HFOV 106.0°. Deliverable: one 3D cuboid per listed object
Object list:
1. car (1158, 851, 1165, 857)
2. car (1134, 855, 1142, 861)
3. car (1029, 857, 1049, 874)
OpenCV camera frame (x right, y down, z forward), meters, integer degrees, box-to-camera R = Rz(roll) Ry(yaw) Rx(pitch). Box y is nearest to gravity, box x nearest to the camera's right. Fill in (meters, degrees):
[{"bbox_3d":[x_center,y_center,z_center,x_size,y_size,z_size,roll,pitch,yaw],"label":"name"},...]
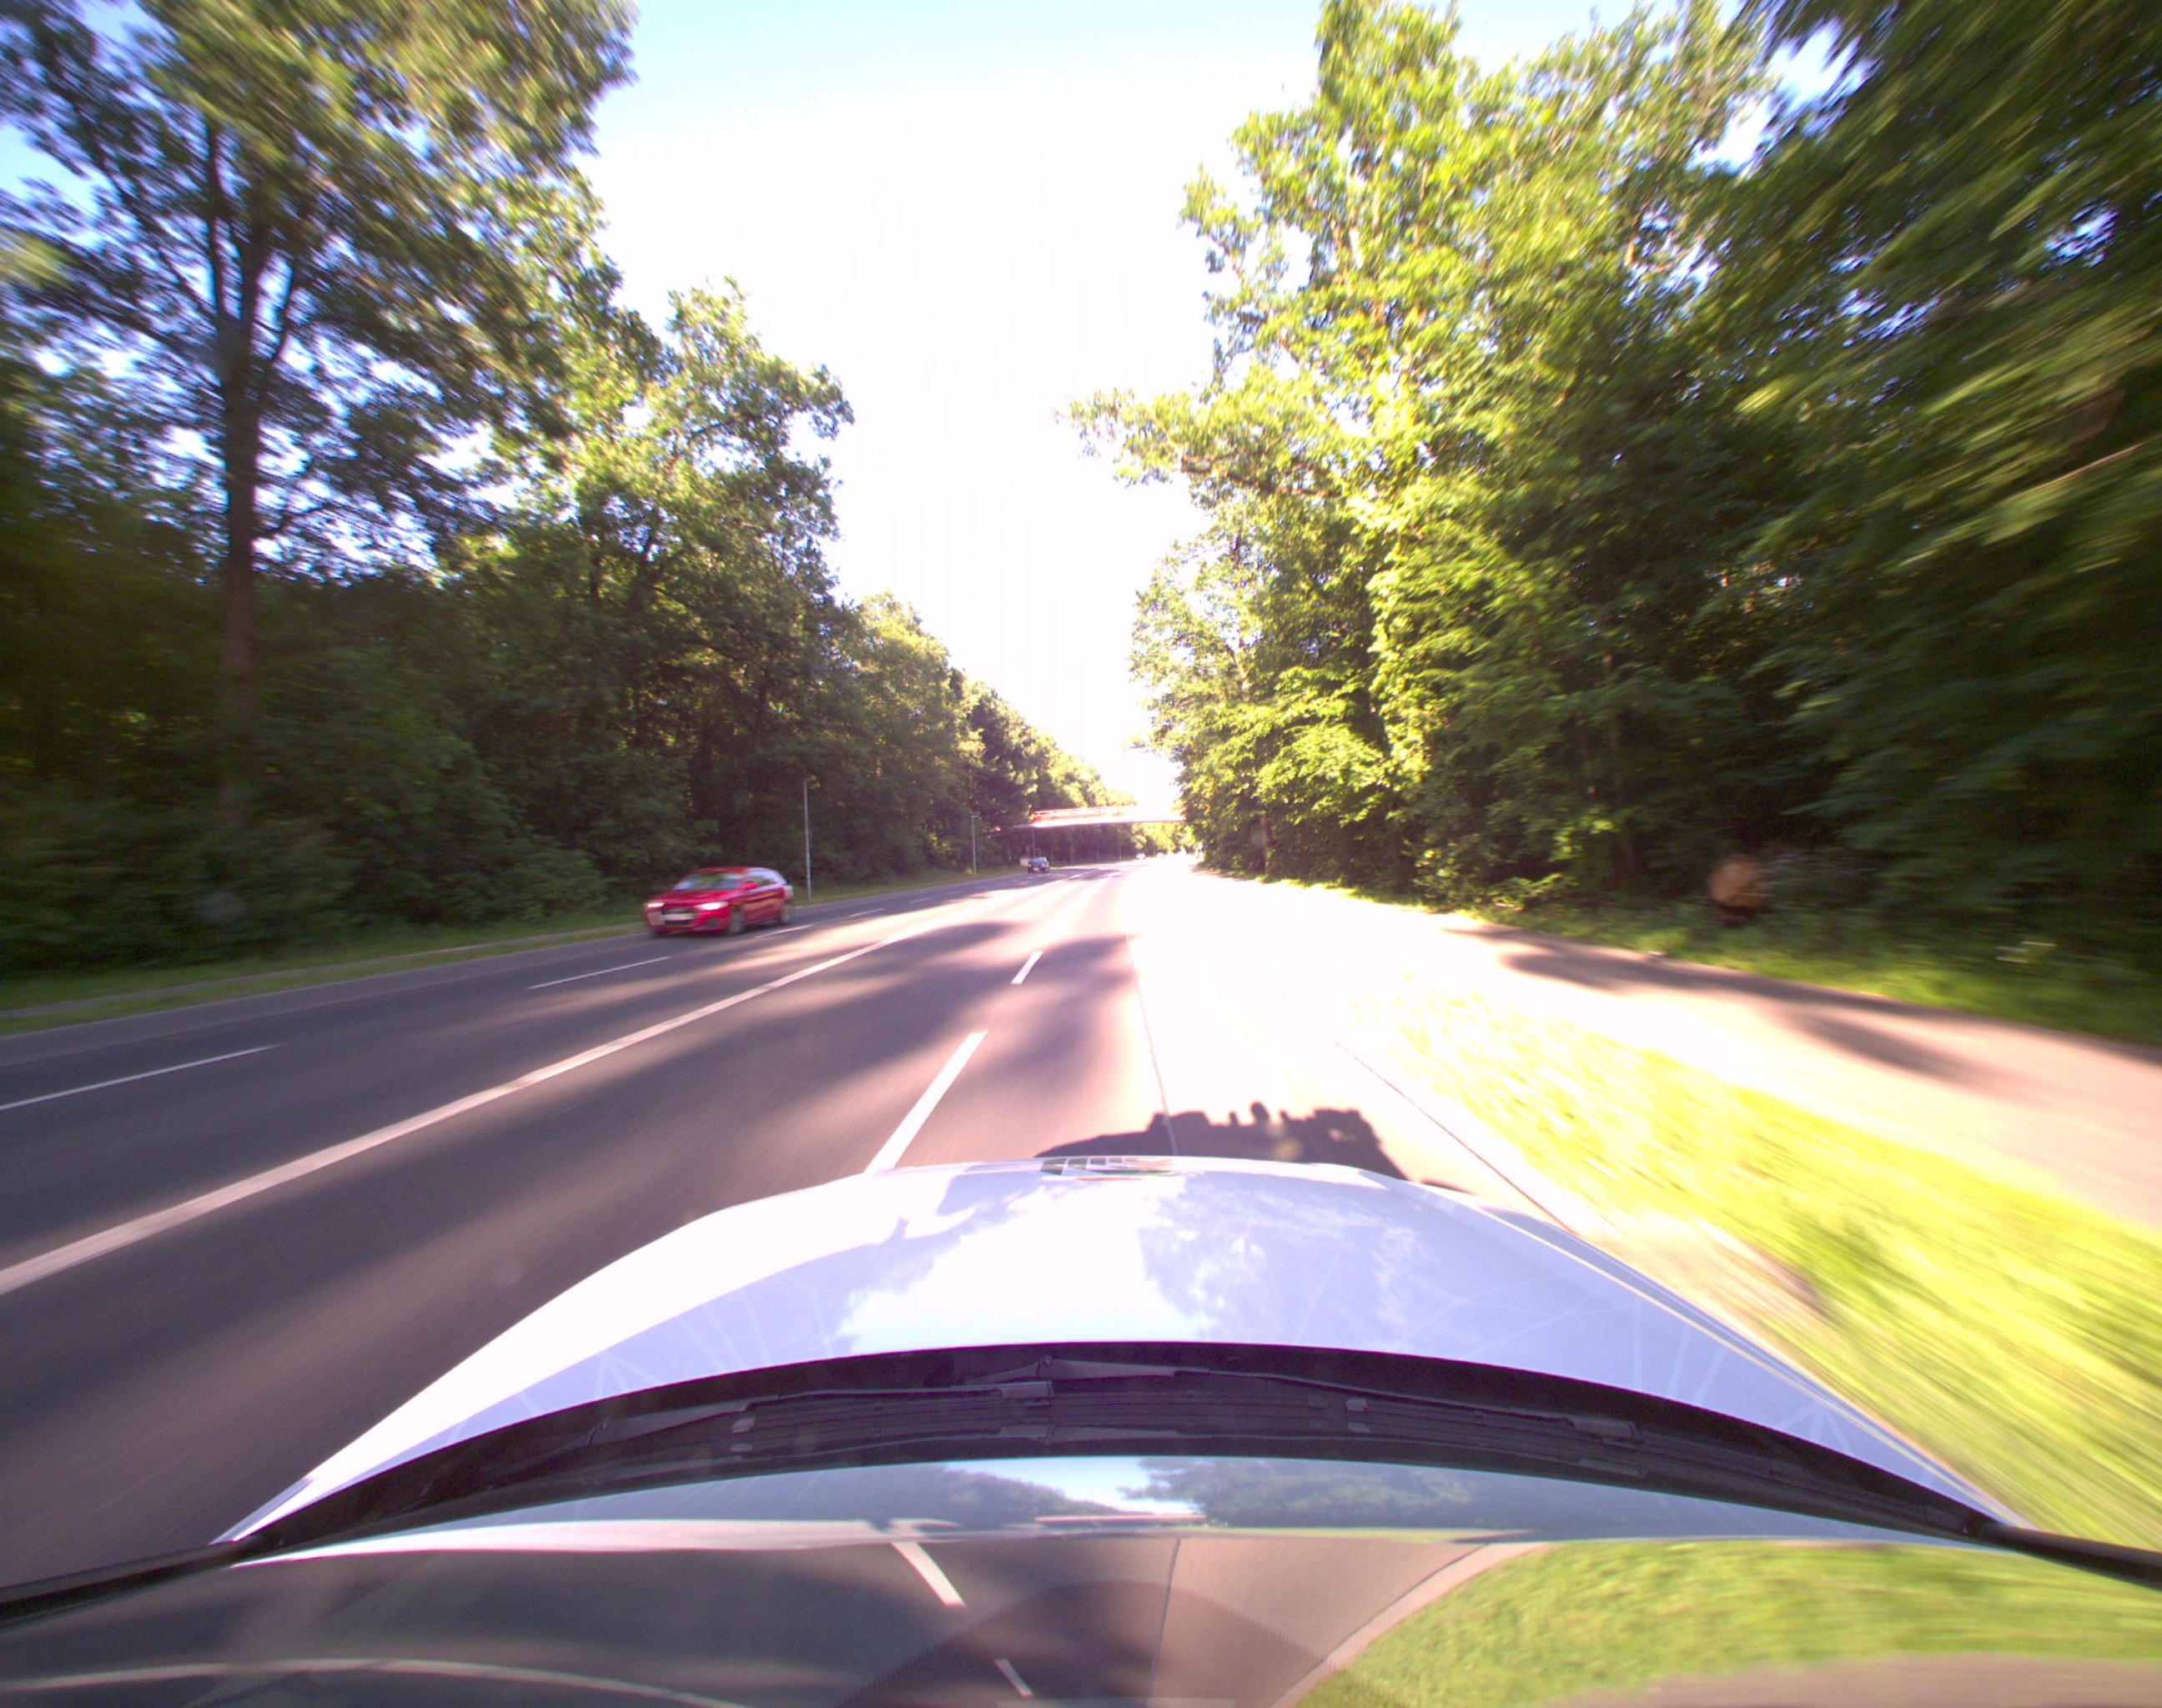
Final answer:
[{"bbox_3d":[23.852,-0.039,241.213,1.713,1.574,4.187,0,0,8],"label":"car"},{"bbox_3d":[14.333,0.987,203.433,1.752,1.582,4.177,-1,0,7],"label":"car"},{"bbox_3d":[-3.827,1.048,74.623,1.490,1.444,3.500,-2,0,0],"label":"car"}]
